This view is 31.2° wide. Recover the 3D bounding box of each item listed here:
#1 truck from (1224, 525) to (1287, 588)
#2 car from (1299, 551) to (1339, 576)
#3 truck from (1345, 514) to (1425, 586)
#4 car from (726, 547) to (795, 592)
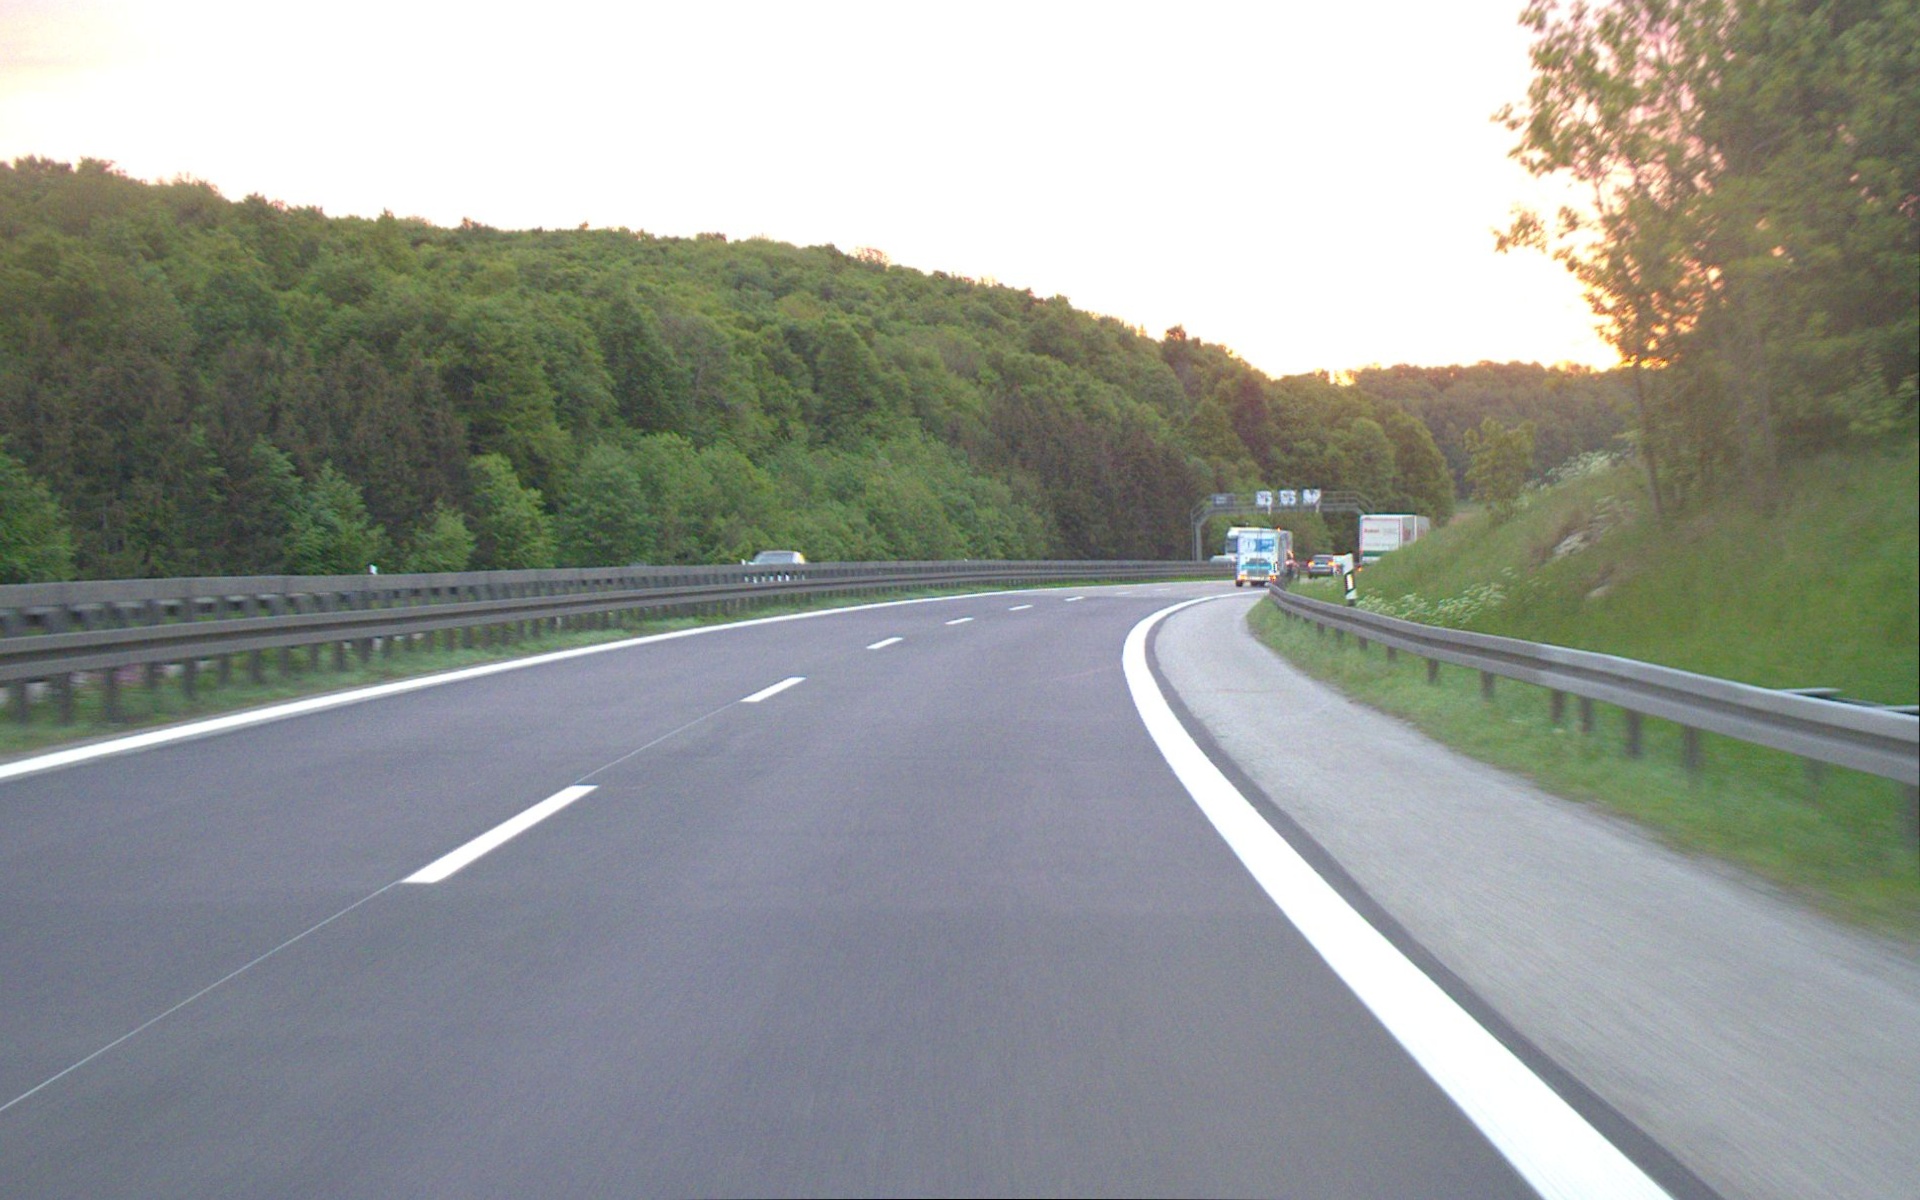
[{"bbox_3d":[13.583,-2.017,157.857,2.277,2.655,5.234,-2,2,11],"label":"truck"},{"bbox_3d":[22.556,-2.273,216.028,1.994,1.512,3.998,-1,1,13],"label":"car"},{"bbox_3d":[26.795,-3.191,216.154,3.960,4.272,14.317,-1,1,11],"label":"truck"},{"bbox_3d":[-7.444,-1.166,128.691,1.753,1.634,4.477,-1,1,7],"label":"car"}]
